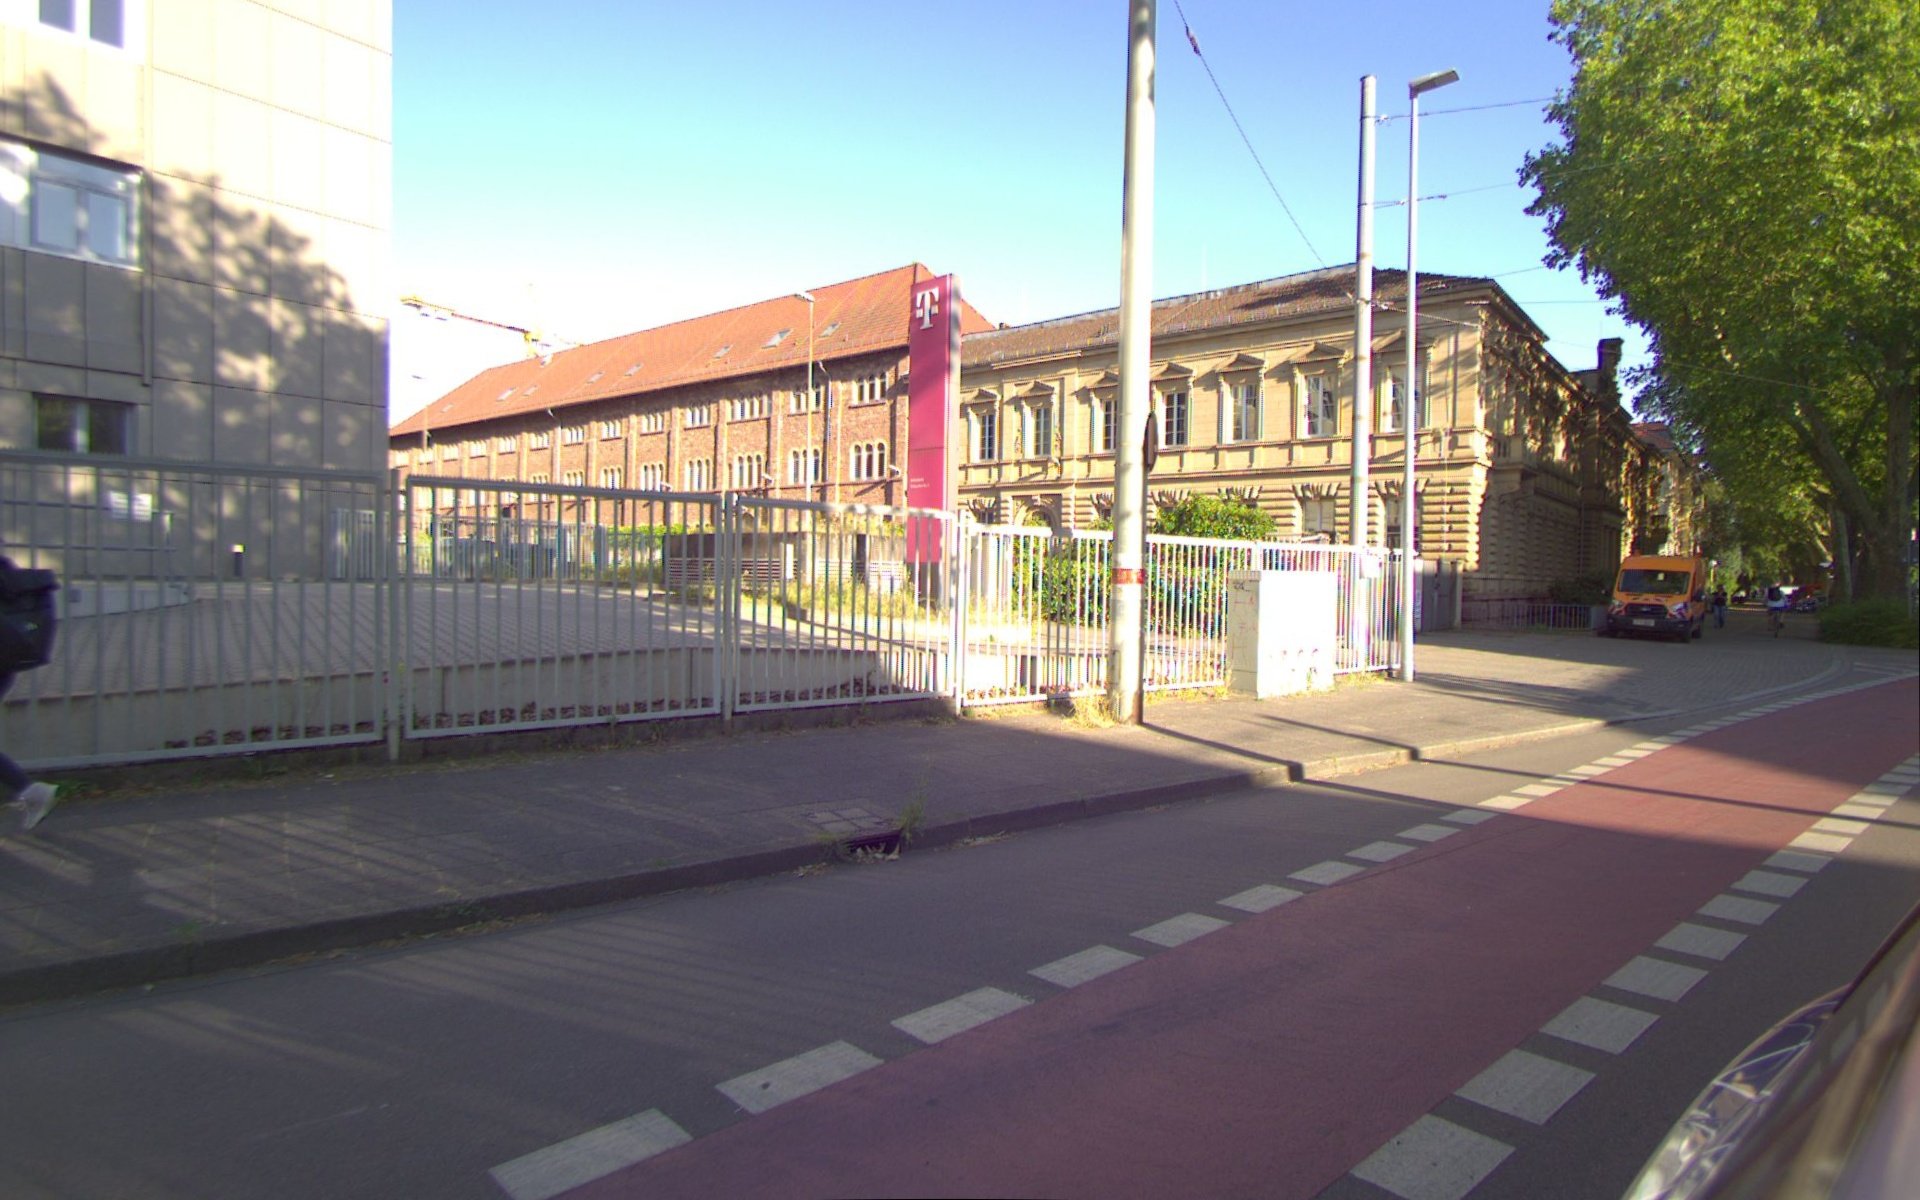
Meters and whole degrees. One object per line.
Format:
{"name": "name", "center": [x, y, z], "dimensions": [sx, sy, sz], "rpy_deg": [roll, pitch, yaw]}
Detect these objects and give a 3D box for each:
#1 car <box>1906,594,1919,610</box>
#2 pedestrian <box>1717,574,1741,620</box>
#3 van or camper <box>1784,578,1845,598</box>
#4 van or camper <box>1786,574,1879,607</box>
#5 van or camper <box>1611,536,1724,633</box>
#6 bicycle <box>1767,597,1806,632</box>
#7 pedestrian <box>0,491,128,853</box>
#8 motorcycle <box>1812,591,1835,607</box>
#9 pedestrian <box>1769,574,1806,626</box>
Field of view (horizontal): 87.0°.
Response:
{"name": "car", "center": [84.275, 0.142, 88.700], "dimensions": [1.732, 1.390, 3.864], "rpy_deg": [0, 0, 39]}
{"name": "pedestrian", "center": [30.185, -0.119, 39.707], "dimensions": [0.650, 1.757, 0.993], "rpy_deg": [2, 2, 40]}
{"name": "van or camper", "center": [112.999, -1.628, 133.913], "dimensions": [6.079, 2.461, 2.392], "rpy_deg": [3, 2, 41]}
{"name": "van or camper", "center": [75.612, -0.857, 87.855], "dimensions": [5.902, 2.527, 2.191], "rpy_deg": [2, 4, 39]}
{"name": "van or camper", "center": [20.997, -0.487, 29.917], "dimensions": [2.035, 2.591, 5.686], "rpy_deg": [2, 2, 42]}
{"name": "bicycle", "center": [26.983, 0.452, 33.035], "dimensions": [1.868, 1.044, 0.676], "rpy_deg": [0, 4, -42]}
{"name": "pedestrian", "center": [-4.745, 0.328, 5.017], "dimensions": [0.913, 1.705, 0.698], "rpy_deg": [0, 2, -37]}
{"name": "motorcycle", "center": [62.251, -0.074, 72.936], "dimensions": [1.248, 1.067, 0.395], "rpy_deg": [1, 1, 4]}
{"name": "pedestrian", "center": [26.956, -0.002, 32.966], "dimensions": [1.083, 1.638, 0.671], "rpy_deg": [0, 4, -42]}
